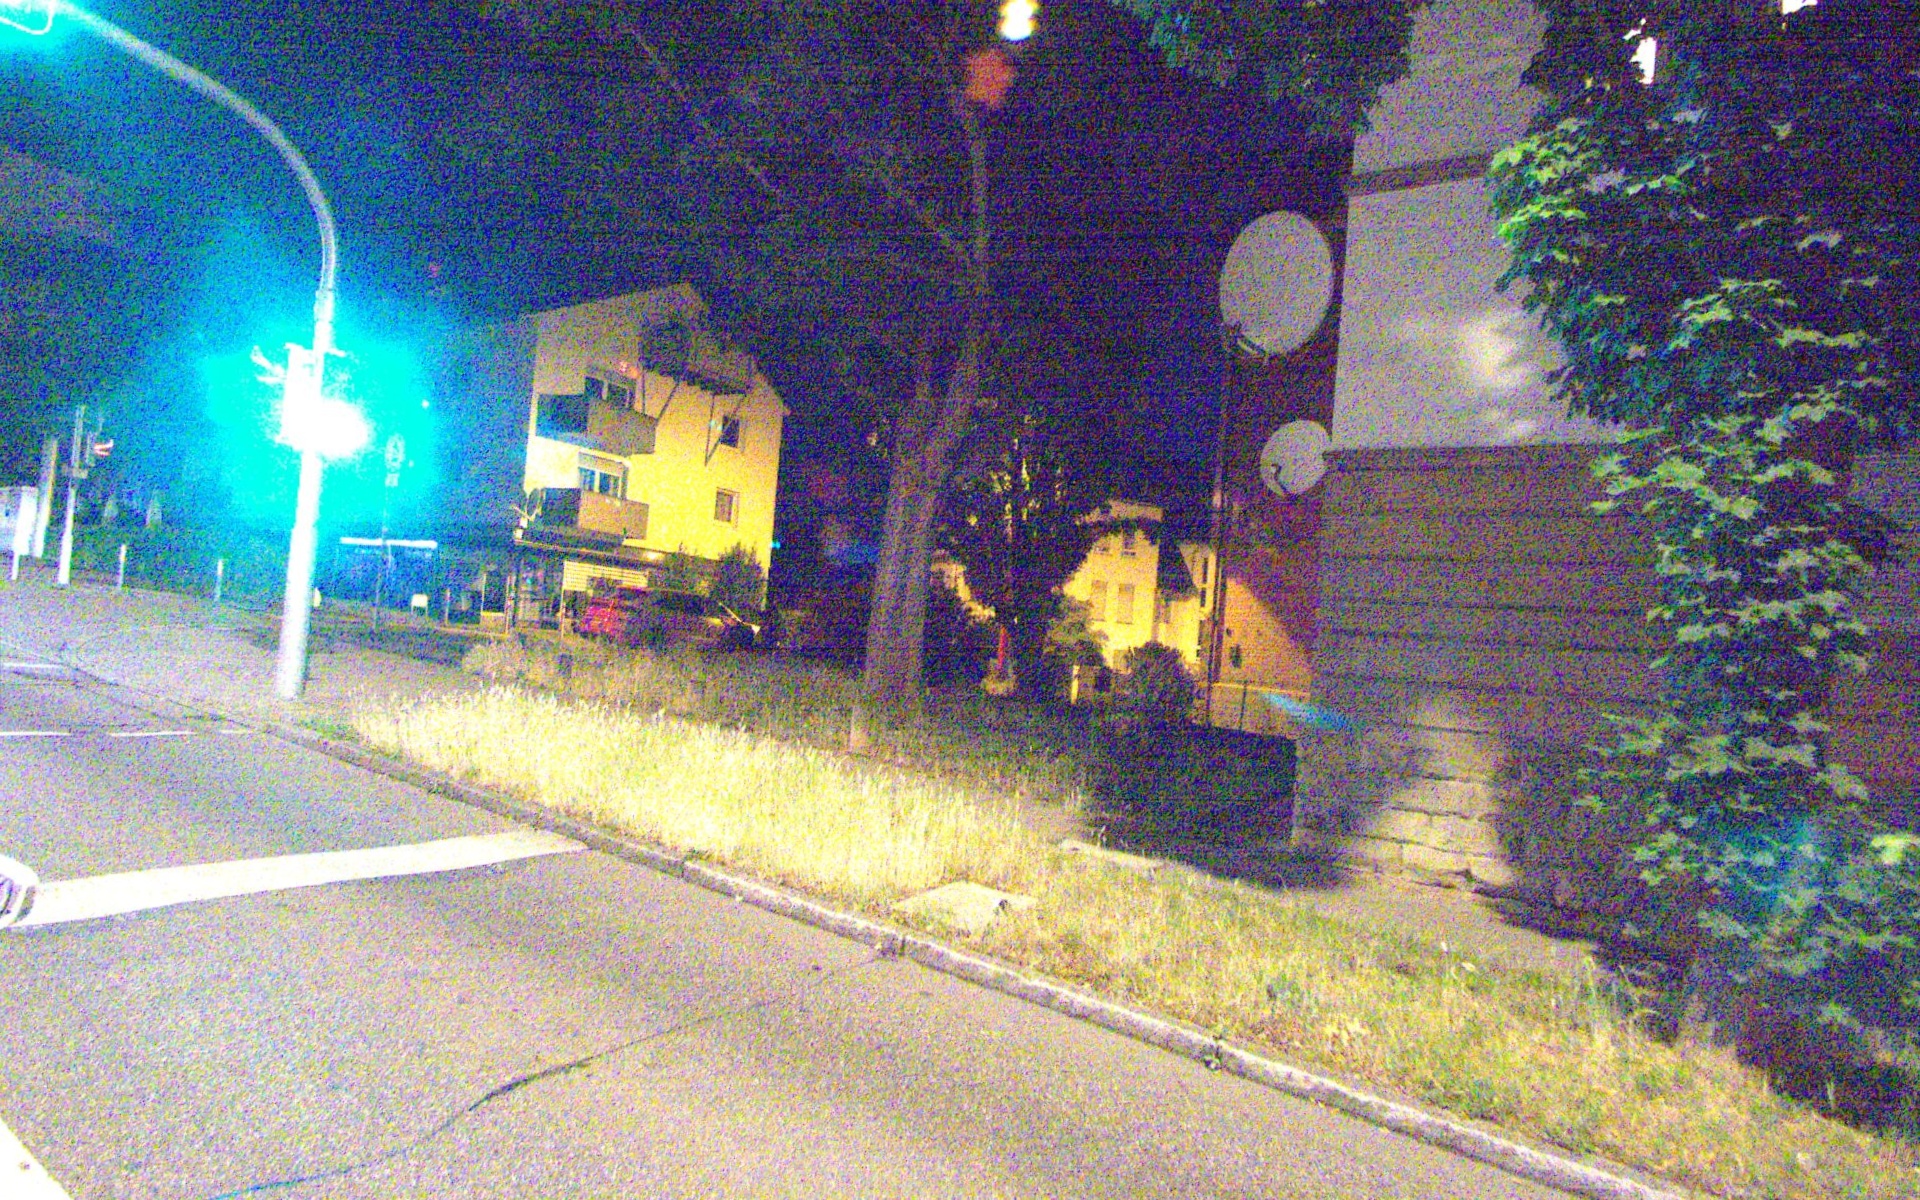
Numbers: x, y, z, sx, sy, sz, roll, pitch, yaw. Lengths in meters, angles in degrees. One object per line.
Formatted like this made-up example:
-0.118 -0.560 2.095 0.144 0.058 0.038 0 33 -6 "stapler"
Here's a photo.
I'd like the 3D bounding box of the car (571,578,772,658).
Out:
-6.546 0.454 23.176 1.740 1.295 4.131 6 -3 39 "car"
